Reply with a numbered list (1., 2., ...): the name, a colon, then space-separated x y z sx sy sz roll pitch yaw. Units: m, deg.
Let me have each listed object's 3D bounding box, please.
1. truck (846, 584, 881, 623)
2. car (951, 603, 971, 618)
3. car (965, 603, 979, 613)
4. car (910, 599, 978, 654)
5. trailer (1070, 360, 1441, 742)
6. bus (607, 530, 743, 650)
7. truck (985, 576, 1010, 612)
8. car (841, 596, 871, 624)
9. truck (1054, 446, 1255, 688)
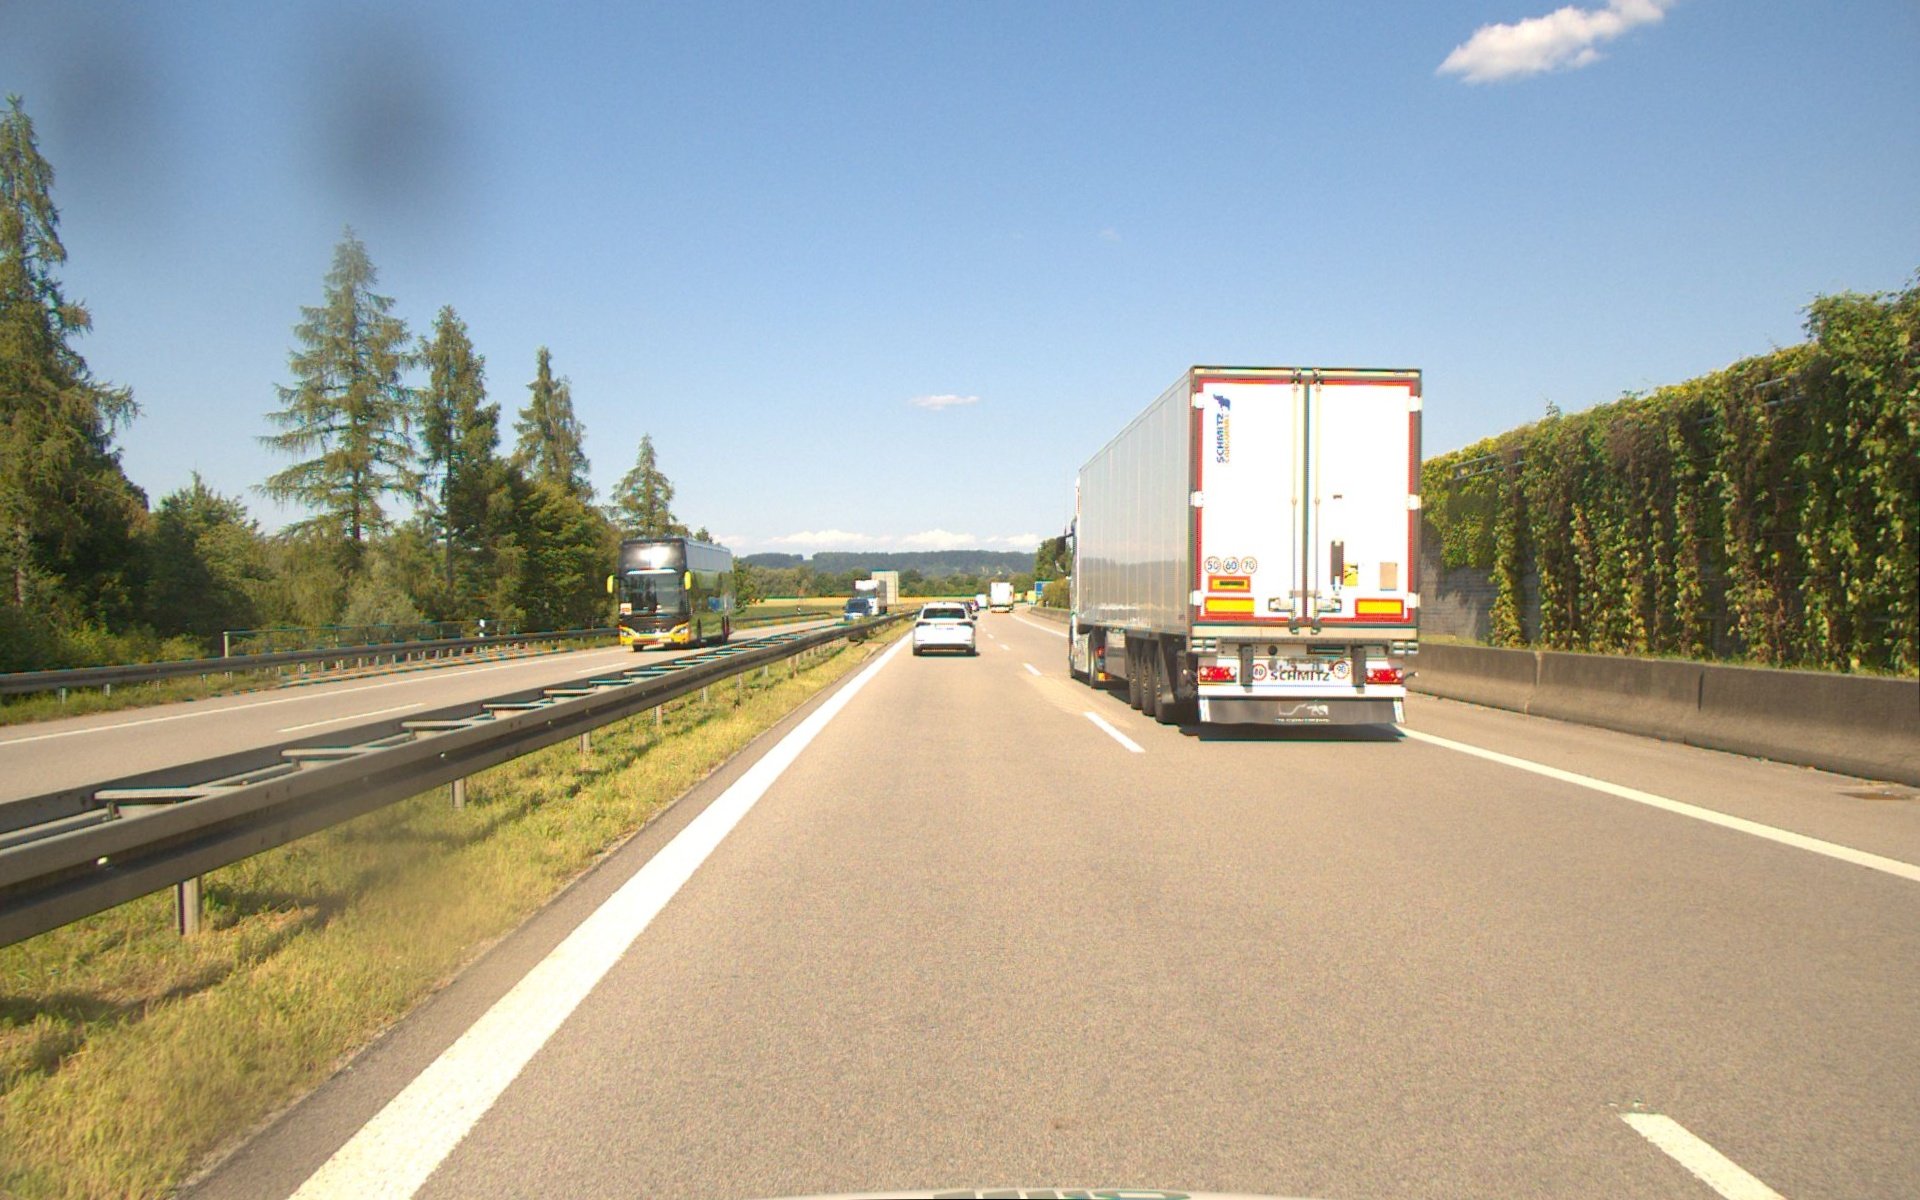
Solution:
1. truck: -10.589 0.380 182.382 3.092 4.173 7.735 -3 0 0
2. car: 0.106 1.019 158.845 1.734 1.446 4.497 0 0 4
3. car: 1.660 1.093 226.998 1.734 1.446 4.366 0 0 2
4. car: -0.488 0.722 47.119 1.803 1.446 5.253 0 0 -1
5. trailer: 3.671 -0.555 24.962 2.761 4.035 14.157 -2 0 -1
6. bus: -10.985 -0.369 65.473 2.877 4.124 14.665 -2 0 -1
7. truck: 5.008 -0.761 220.353 3.087 4.693 8.905 -1 0 0
8. car: -7.284 0.681 116.145 1.718 1.881 5.011 -3 0 0
9. truck: 3.525 -0.577 31.816 2.783 4.035 7.042 -2 0 -1
